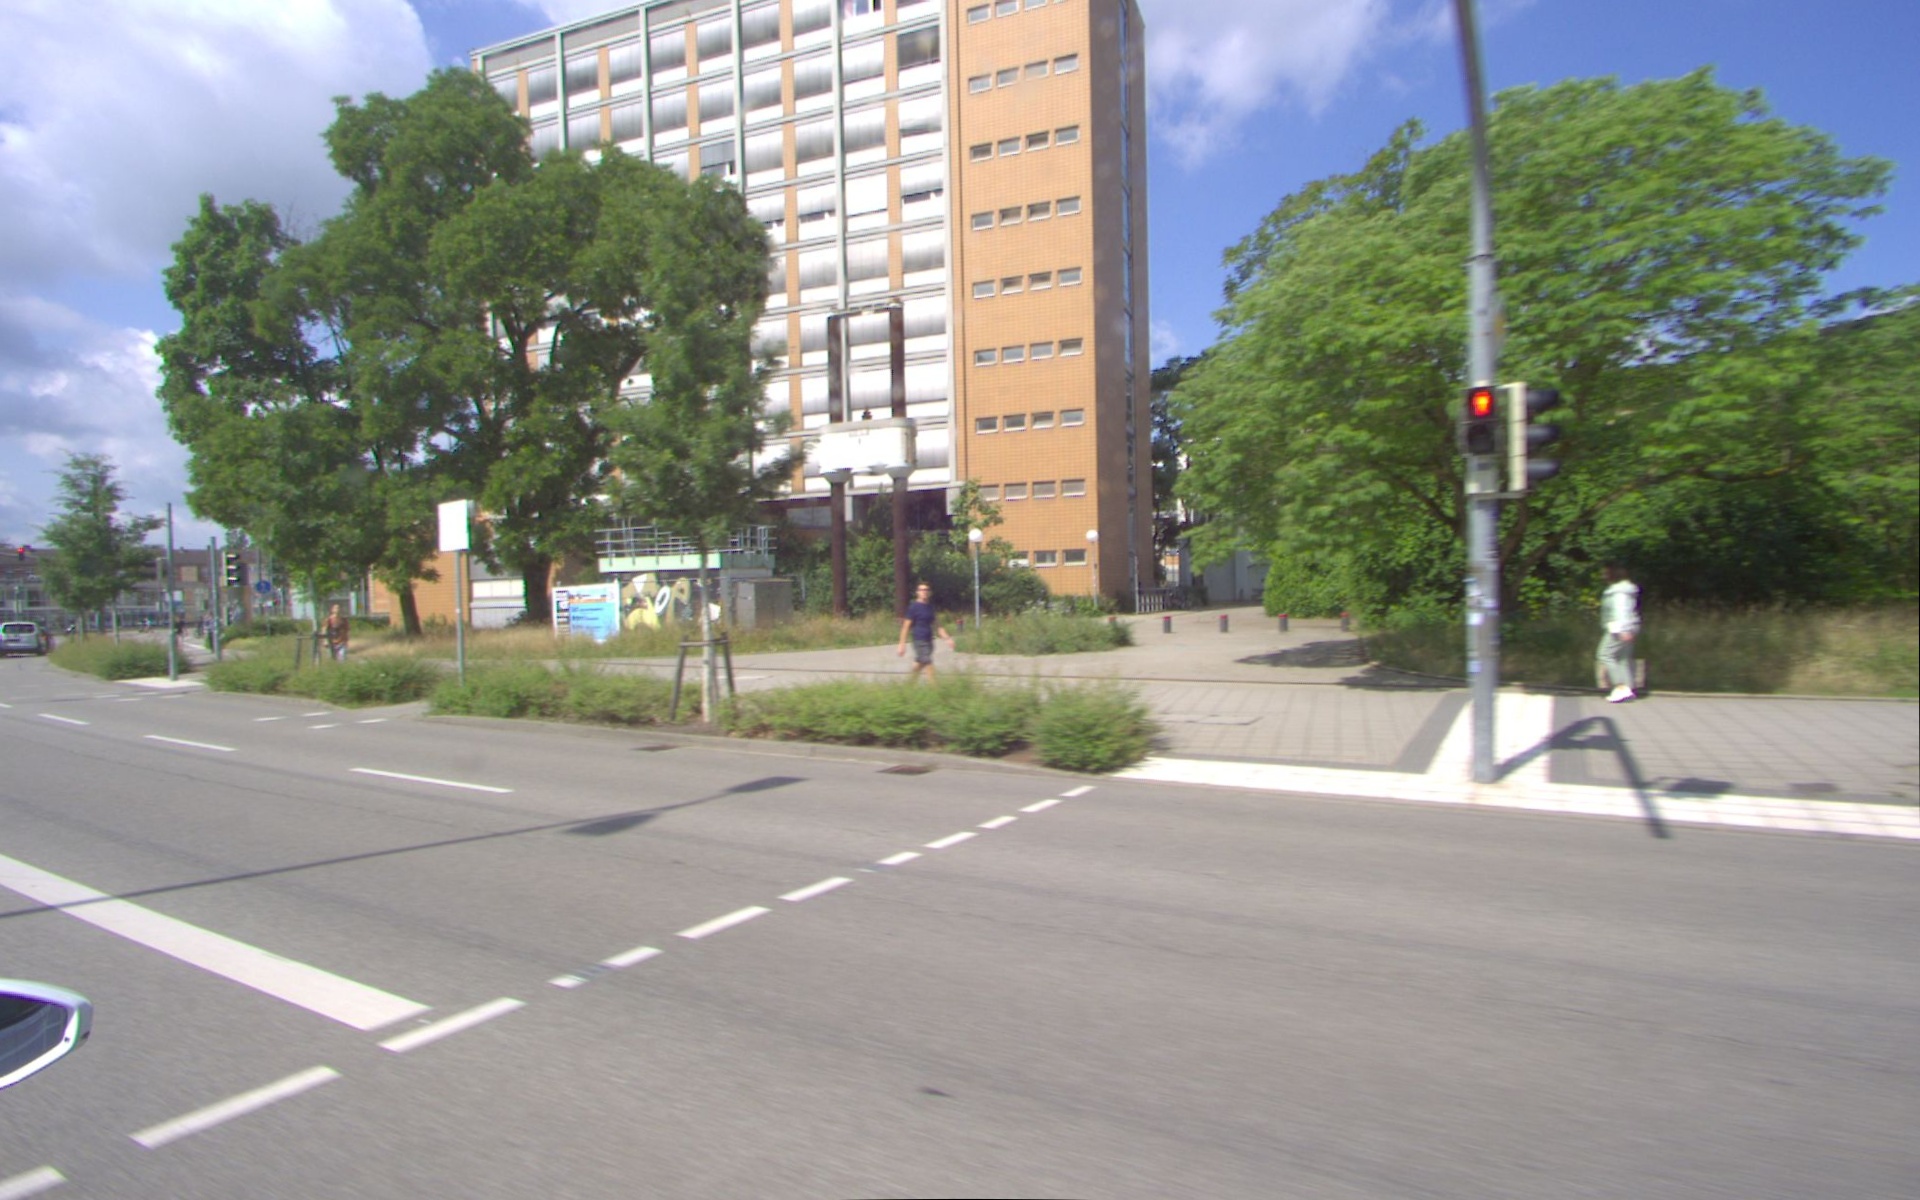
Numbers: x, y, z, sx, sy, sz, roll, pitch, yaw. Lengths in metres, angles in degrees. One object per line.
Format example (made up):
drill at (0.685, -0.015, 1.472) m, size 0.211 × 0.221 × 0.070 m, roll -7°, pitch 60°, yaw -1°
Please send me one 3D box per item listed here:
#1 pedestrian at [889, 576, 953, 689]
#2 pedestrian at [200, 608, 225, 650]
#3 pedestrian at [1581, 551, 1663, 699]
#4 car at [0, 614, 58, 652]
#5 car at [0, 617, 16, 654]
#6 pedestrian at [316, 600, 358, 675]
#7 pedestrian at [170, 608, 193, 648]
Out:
pedestrian at (-0.537, 0.441, 14.053) m, size 0.544 × 1.528 × 0.768 m, roll 0°, pitch 1°, yaw 32°
pedestrian at (-32.582, 1.242, 43.621) m, size 0.782 × 1.808 × 0.661 m, roll -2°, pitch 1°, yaw -42°
pedestrian at (7.767, 0.289, 11.777) m, size 0.710 × 1.660 × 0.867 m, roll -1°, pitch 1°, yaw 28°
car at (-48.392, 1.671, 51.918) m, size 1.975 × 1.819 × 3.970 m, roll -2°, pitch 1°, yaw -37°
car at (-54.058, 1.965, 55.559) m, size 1.974 × 1.964 × 4.601 m, roll -2°, pitch 1°, yaw -39°
pedestrian at (-14.814, 0.884, 23.811) m, size 0.570 × 1.756 × 0.658 m, roll 0°, pitch 1°, yaw 34°
pedestrian at (-36.039, 1.272, 46.342) m, size 0.781 × 1.808 × 0.661 m, roll -2°, pitch 1°, yaw -40°
